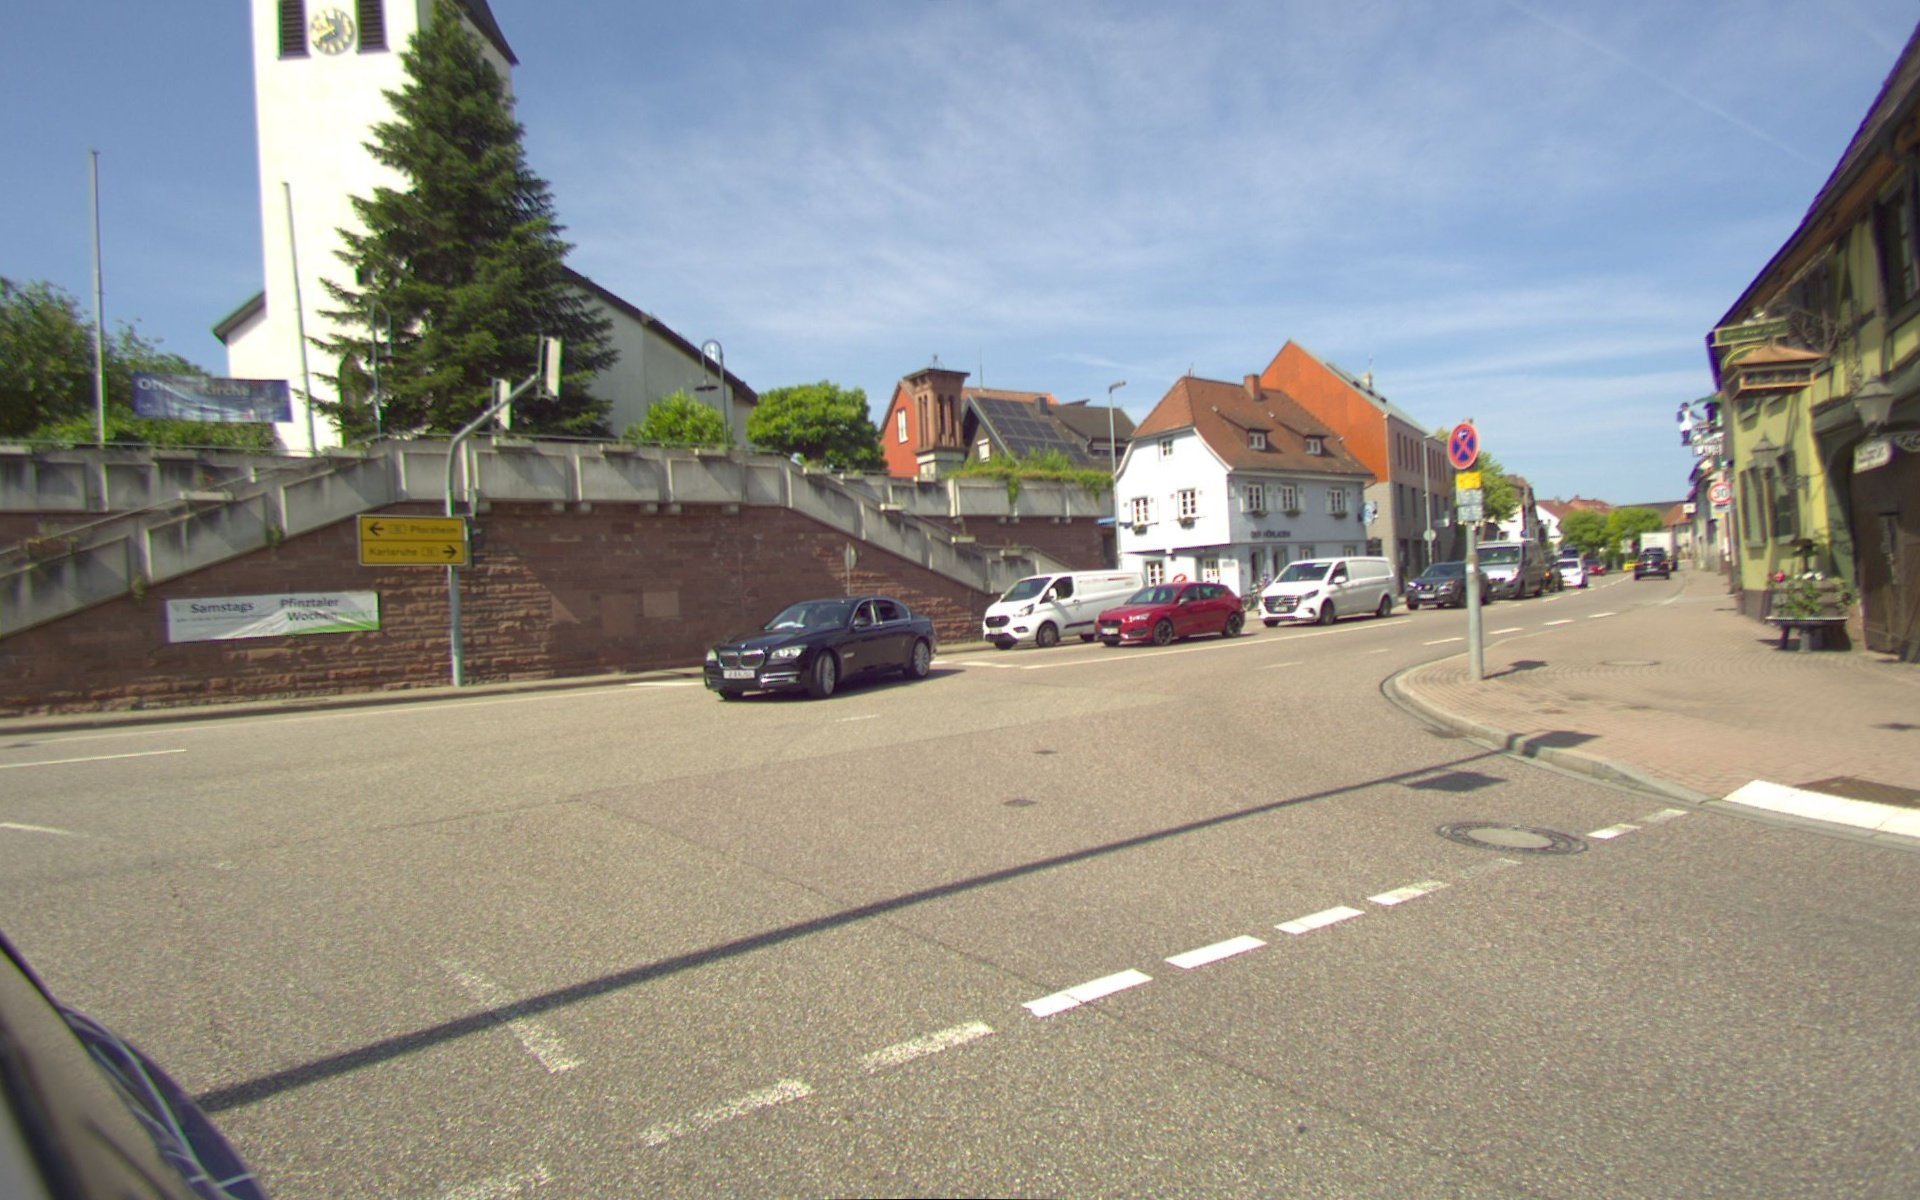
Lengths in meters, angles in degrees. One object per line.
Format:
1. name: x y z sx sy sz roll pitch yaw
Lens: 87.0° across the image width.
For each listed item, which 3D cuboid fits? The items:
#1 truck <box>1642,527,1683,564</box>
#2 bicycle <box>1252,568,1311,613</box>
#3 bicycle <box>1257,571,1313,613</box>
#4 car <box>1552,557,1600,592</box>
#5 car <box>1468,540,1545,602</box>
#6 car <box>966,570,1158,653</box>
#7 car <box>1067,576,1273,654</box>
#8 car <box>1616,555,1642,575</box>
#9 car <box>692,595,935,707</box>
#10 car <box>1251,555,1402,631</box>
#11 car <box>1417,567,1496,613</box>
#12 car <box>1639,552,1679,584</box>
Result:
1. truck: 72.415 -5.560 104.479 3.225 3.575 9.126 0 2 34
2. bicycle: 13.252 -0.406 41.672 2.624 1.792 0.645 -2 2 -28
3. bicycle: 13.122 -0.331 40.816 2.518 1.619 0.561 -2 2 -28
4. car: 30.044 -1.249 49.307 1.511 1.638 3.373 0 2 40
5. car: 21.120 -1.133 39.012 1.762 2.262 4.493 0 2 40
6. car: 2.888 0.292 28.002 5.194 1.981 2.148 -3 -1 -39
7. car: 5.150 0.317 24.540 4.867 1.526 2.171 -4 1 -37
8. car: 56.201 -2.948 85.010 1.465 1.590 3.424 0 2 39
9. car: -2.128 0.720 16.007 1.815 1.445 4.214 -3 0 24
10. car: 10.603 -0.237 29.084 4.887 1.920 1.829 -4 0 -40
11. car: 16.610 -0.358 33.799 1.578 1.394 3.512 0 2 40
12. car: 42.349 -1.913 61.369 1.822 1.752 3.959 -4 -1 34
